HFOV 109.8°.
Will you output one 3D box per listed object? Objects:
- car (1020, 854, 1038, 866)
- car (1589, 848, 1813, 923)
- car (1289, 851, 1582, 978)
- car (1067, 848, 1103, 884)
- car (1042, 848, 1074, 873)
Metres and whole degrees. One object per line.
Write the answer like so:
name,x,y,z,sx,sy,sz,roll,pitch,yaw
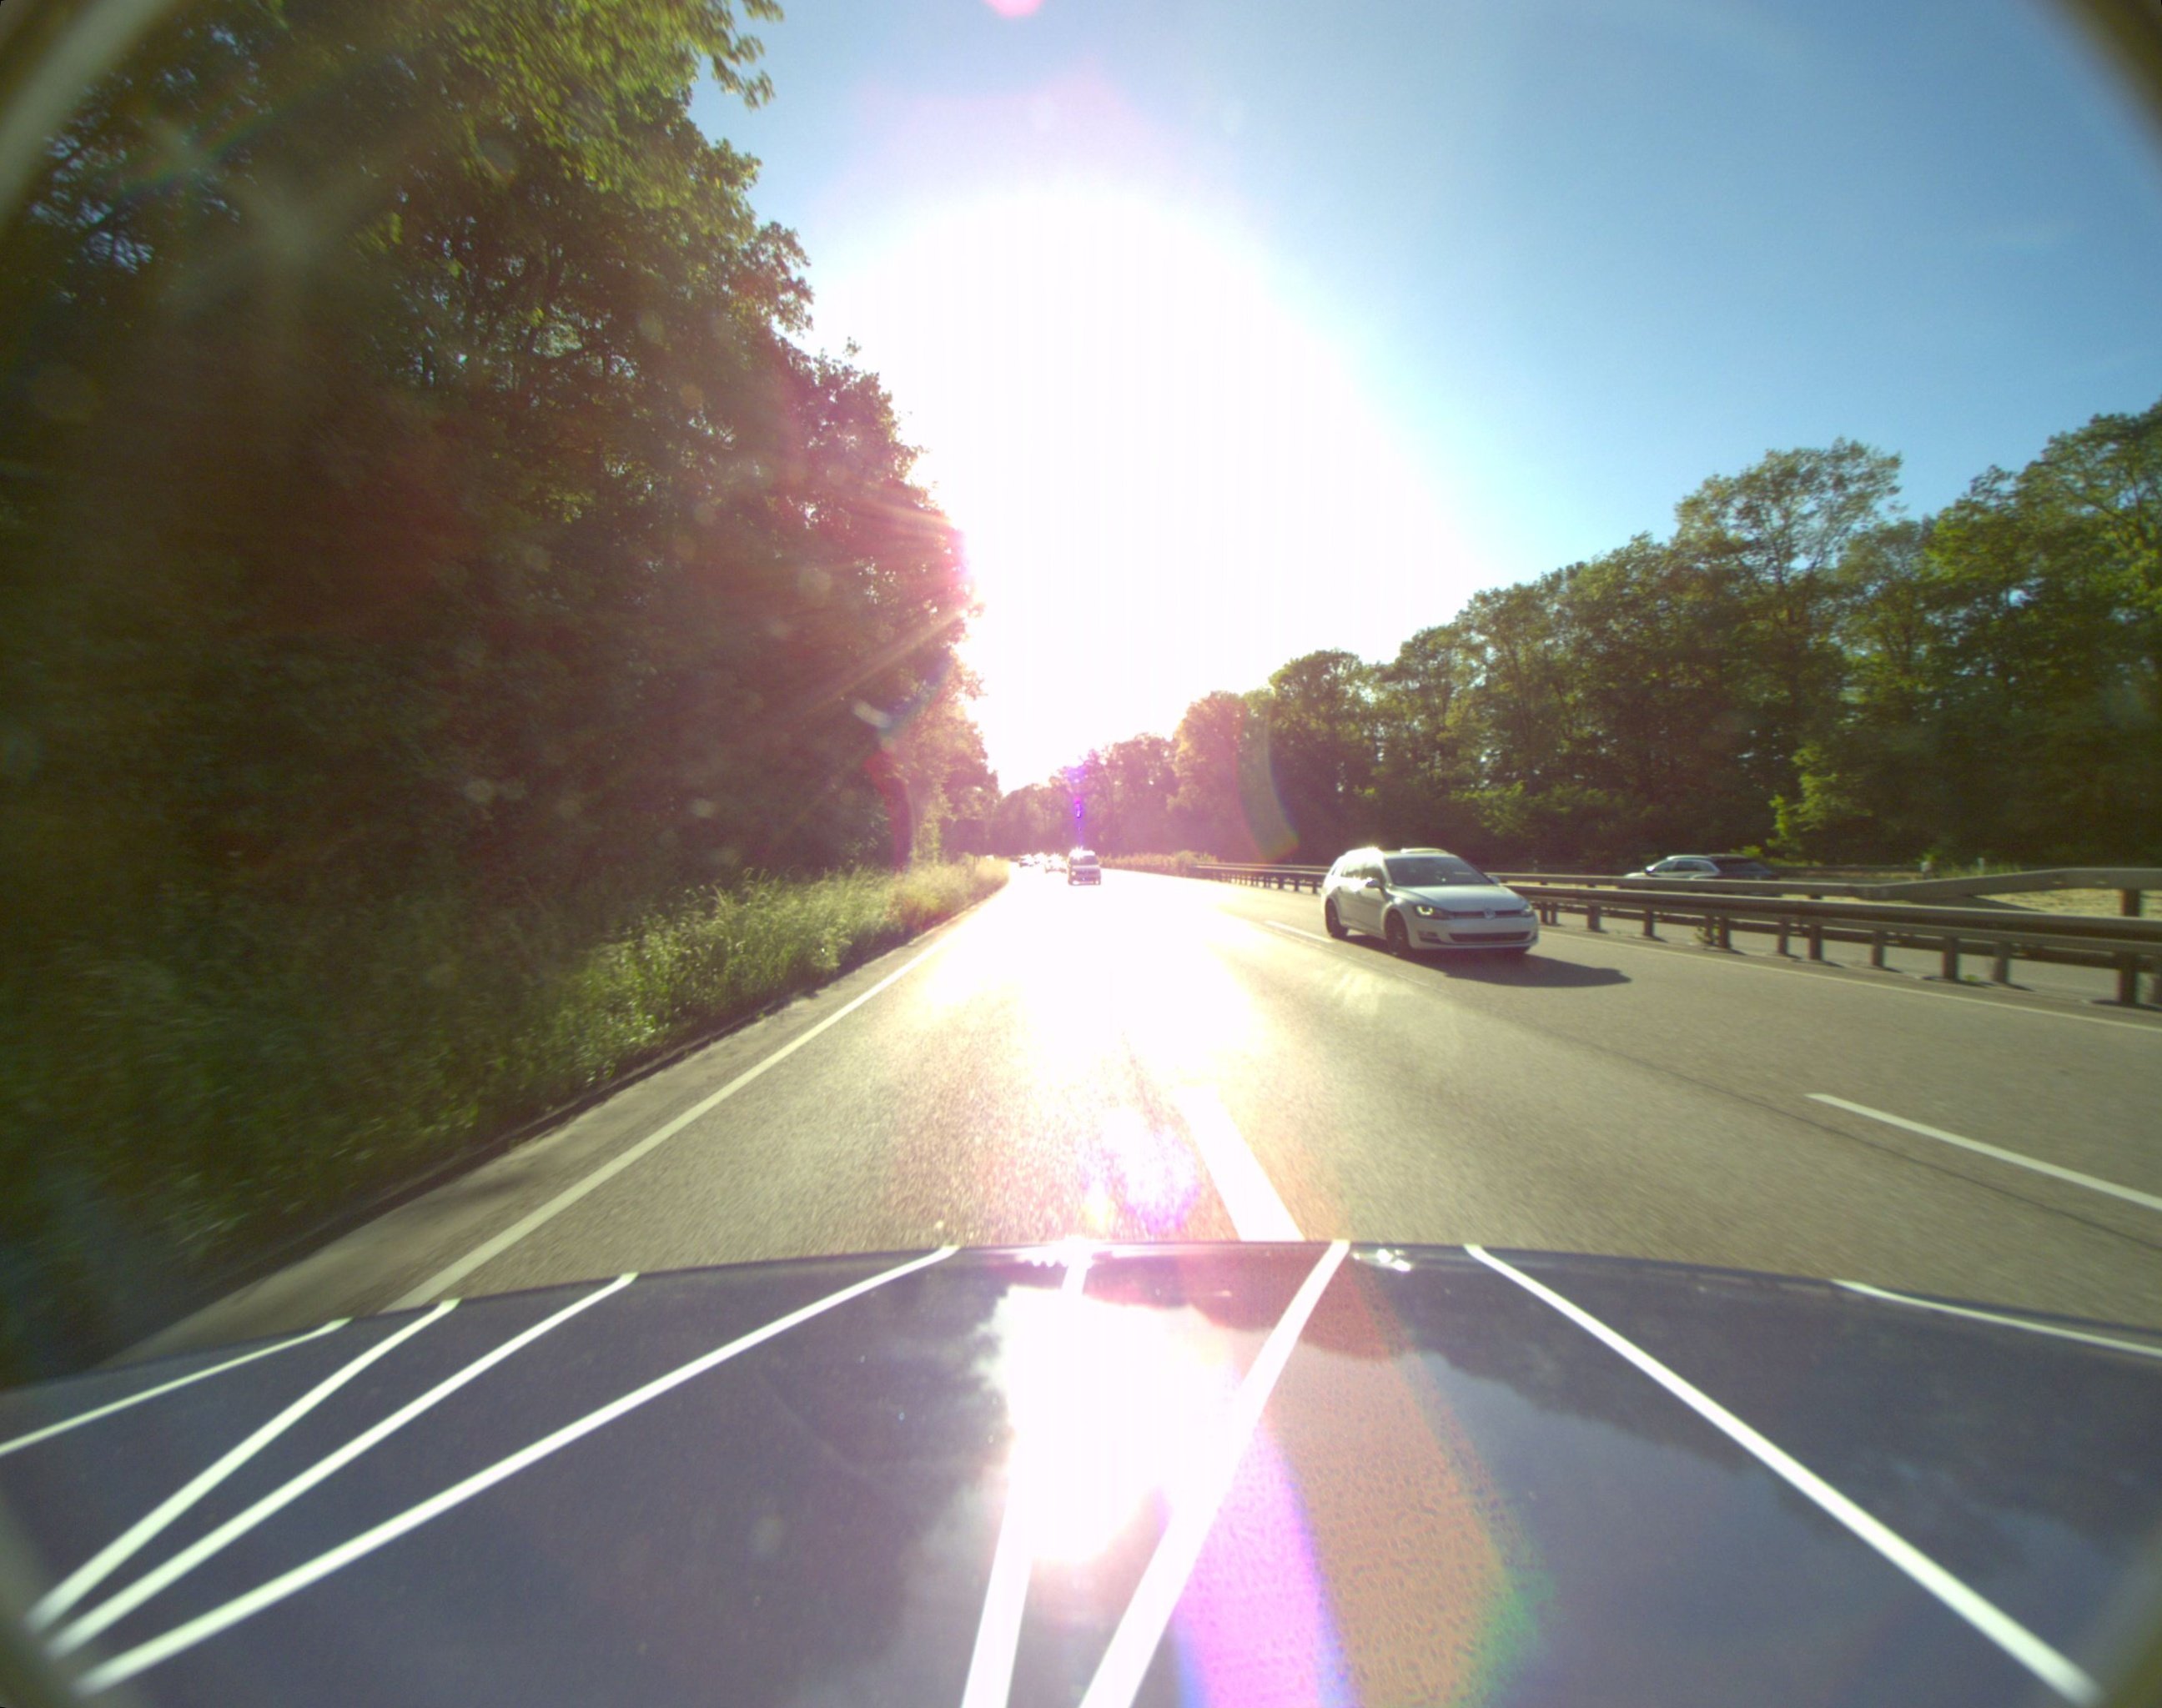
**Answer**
car,-6.942,0.812,100.895,1.935,1.499,5.082,-1,0,-8
car,17.349,0.773,21.740,1.999,1.837,5.309,-1,0,-1
car,5.086,0.736,12.048,1.934,1.499,5.598,-2,0,-1
car,0.179,0.617,42.809,1.800,1.796,4.831,-2,1,-1
car,-2.115,0.537,67.956,2.258,1.843,5.135,-2,3,-8
